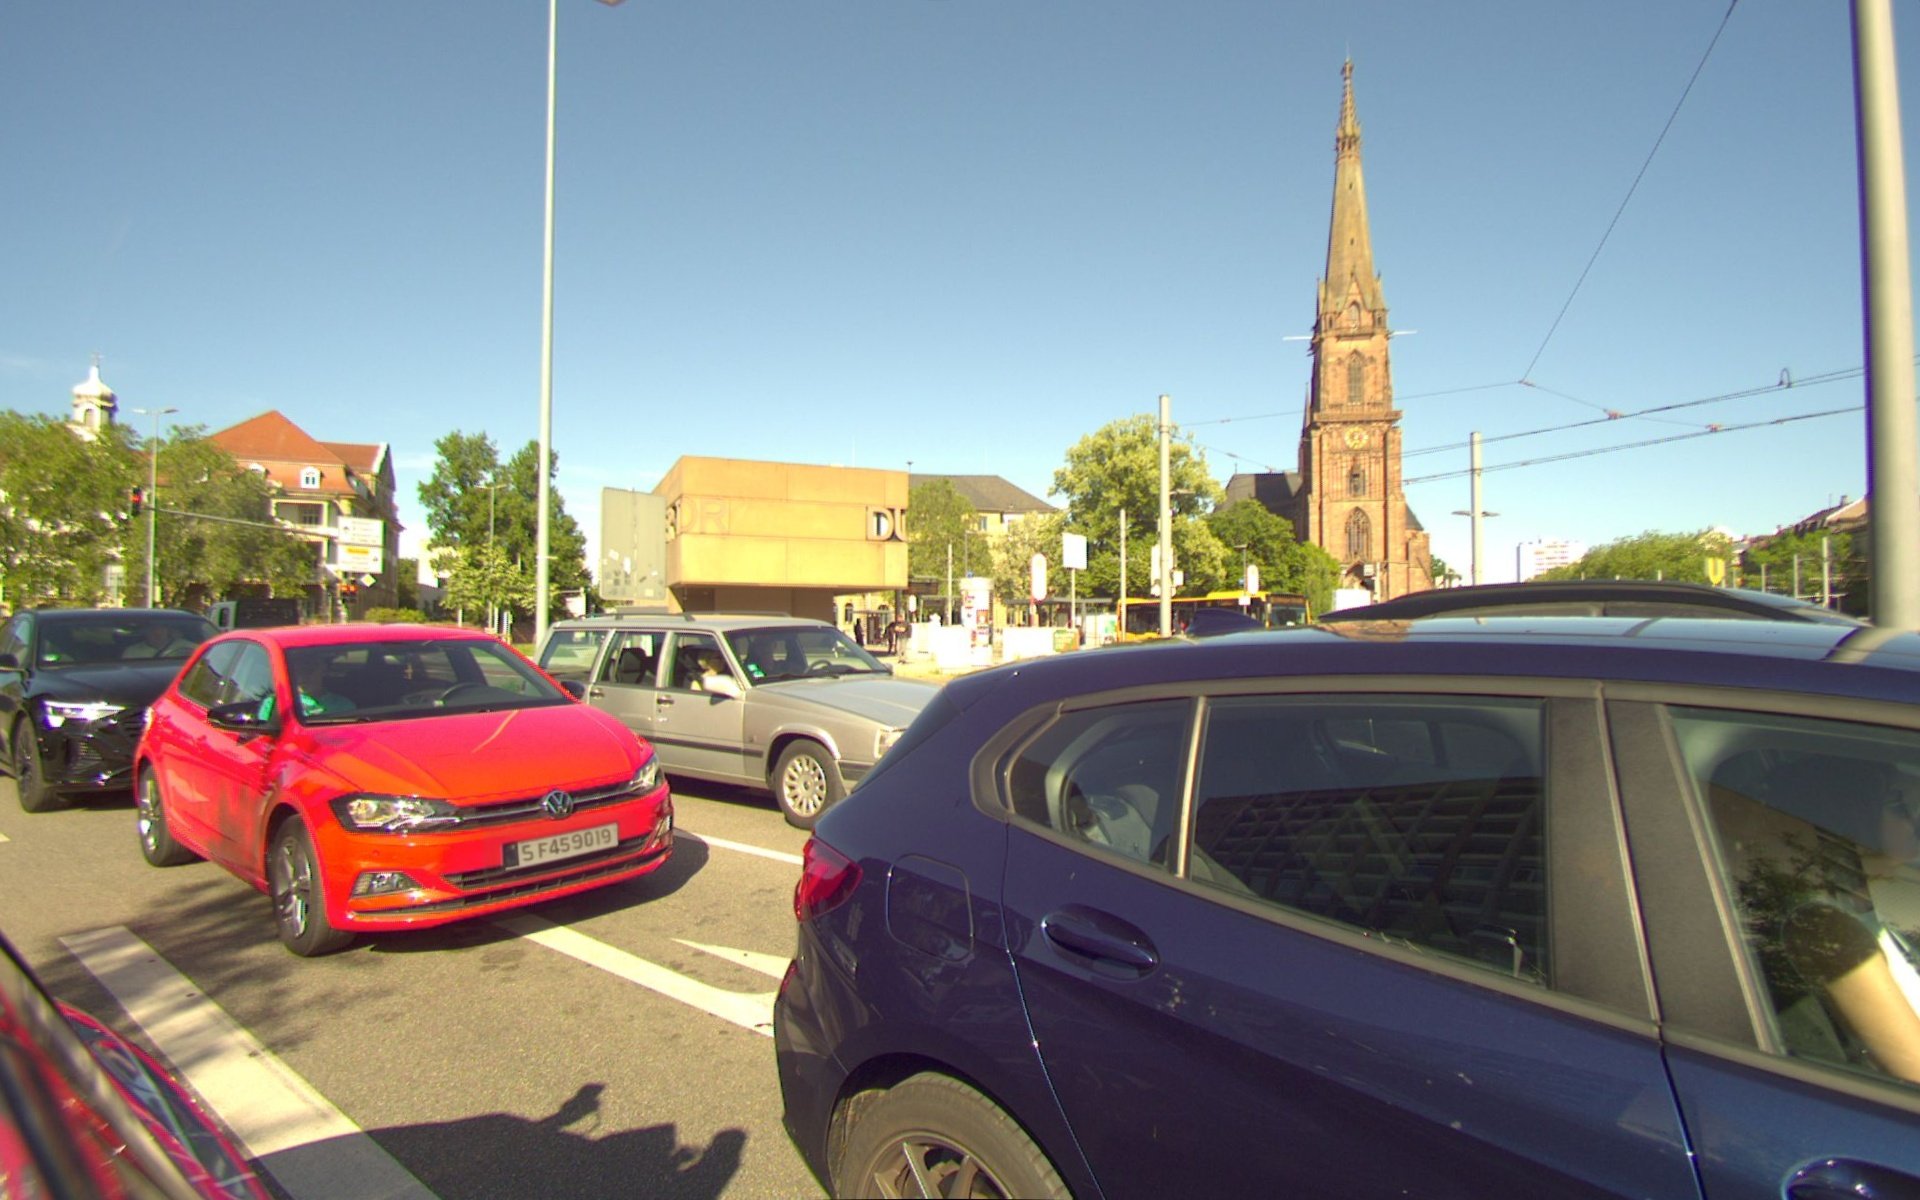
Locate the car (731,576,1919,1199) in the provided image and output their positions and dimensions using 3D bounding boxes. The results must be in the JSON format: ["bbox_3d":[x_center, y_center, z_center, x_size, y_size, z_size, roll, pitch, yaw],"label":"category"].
[{"bbox_3d":[1.592,0.700,1.382,4.030,1.456,1.692,-1,-1,42],"label":"car"}]

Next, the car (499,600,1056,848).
[{"bbox_3d":[-1.696,0.822,8.234,4.744,1.484,1.693,-2,-1,37],"label":"car"}]

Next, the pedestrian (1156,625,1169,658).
[{"bbox_3d":[9.480,1.929,47.313,0.565,1.525,0.526,-1,-1,12],"label":"pedestrian"}]

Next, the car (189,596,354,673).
[{"bbox_3d":[-22.612,1.127,33.154,6.191,2.331,2.095,-1,-2,31],"label":"car"}]

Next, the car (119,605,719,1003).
[{"bbox_3d":[-3.213,0.805,5.676,3.850,1.484,1.653,-2,-1,40],"label":"car"}]

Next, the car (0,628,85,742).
[{"bbox_3d":[-13.639,1.125,13.922,3.704,1.429,1.557,-1,-1,35],"label":"car"}]

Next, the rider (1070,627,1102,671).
[{"bbox_3d":[4.302,1.664,34.598,0.846,1.475,0.672,0,-2,-19],"label":"rider"}]

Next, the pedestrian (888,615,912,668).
[{"bbox_3d":[-2.038,1.418,34.620,0.661,1.802,0.644,-1,-1,12],"label":"pedestrian"}]

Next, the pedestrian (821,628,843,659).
[{"bbox_3d":[-5.470,1.836,43.173,0.635,1.320,0.764,1,-2,-40],"label":"pedestrian"}]

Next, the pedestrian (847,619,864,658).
[{"bbox_3d":[-4.819,1.771,46.568,0.468,1.789,0.638,-2,-2,36],"label":"pedestrian"}]

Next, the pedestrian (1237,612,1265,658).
[{"bbox_3d":[12.002,1.436,41.717,0.882,1.869,0.679,-2,-3,41],"label":"pedestrian"}]

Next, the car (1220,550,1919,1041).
[{"bbox_3d":[3.292,0.624,4.077,4.010,1.529,1.738,-2,-2,44],"label":"car"}]

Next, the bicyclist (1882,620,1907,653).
[{"bbox_3d":[41.705,1.641,45.160,0.677,1.466,0.775,-2,-3,35],"label":"bicyclist"}]

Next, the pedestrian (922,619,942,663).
[{"bbox_3d":[-1.144,1.664,41.048,0.634,1.789,0.470,1,-2,-29],"label":"pedestrian"}]

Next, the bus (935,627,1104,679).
[{"bbox_3d":[1.490,1.335,26.169,4.174,1.251,1.627,-1,-2,35],"label":"bus"}]

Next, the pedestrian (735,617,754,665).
[{"bbox_3d":[-8.113,1.525,38.133,0.635,1.789,0.618,0,-2,-8],"label":"pedestrian"}]

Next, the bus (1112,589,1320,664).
[{"bbox_3d":[11.643,1.311,48.112,2.715,3.088,12.201,1,-2,-23],"label":"bus"}]

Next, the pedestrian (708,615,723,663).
[{"bbox_3d":[-9.293,1.477,38.514,0.460,1.789,0.648,0,-2,-21],"label":"pedestrian"}]

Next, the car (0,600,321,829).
[{"bbox_3d":[-7.791,0.876,9.300,4.446,1.628,1.836,-1,-2,38],"label":"car"}]

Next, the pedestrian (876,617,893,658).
[{"bbox_3d":[-3.340,1.656,44.881,0.468,1.789,0.638,-2,-2,36],"label":"pedestrian"}]
